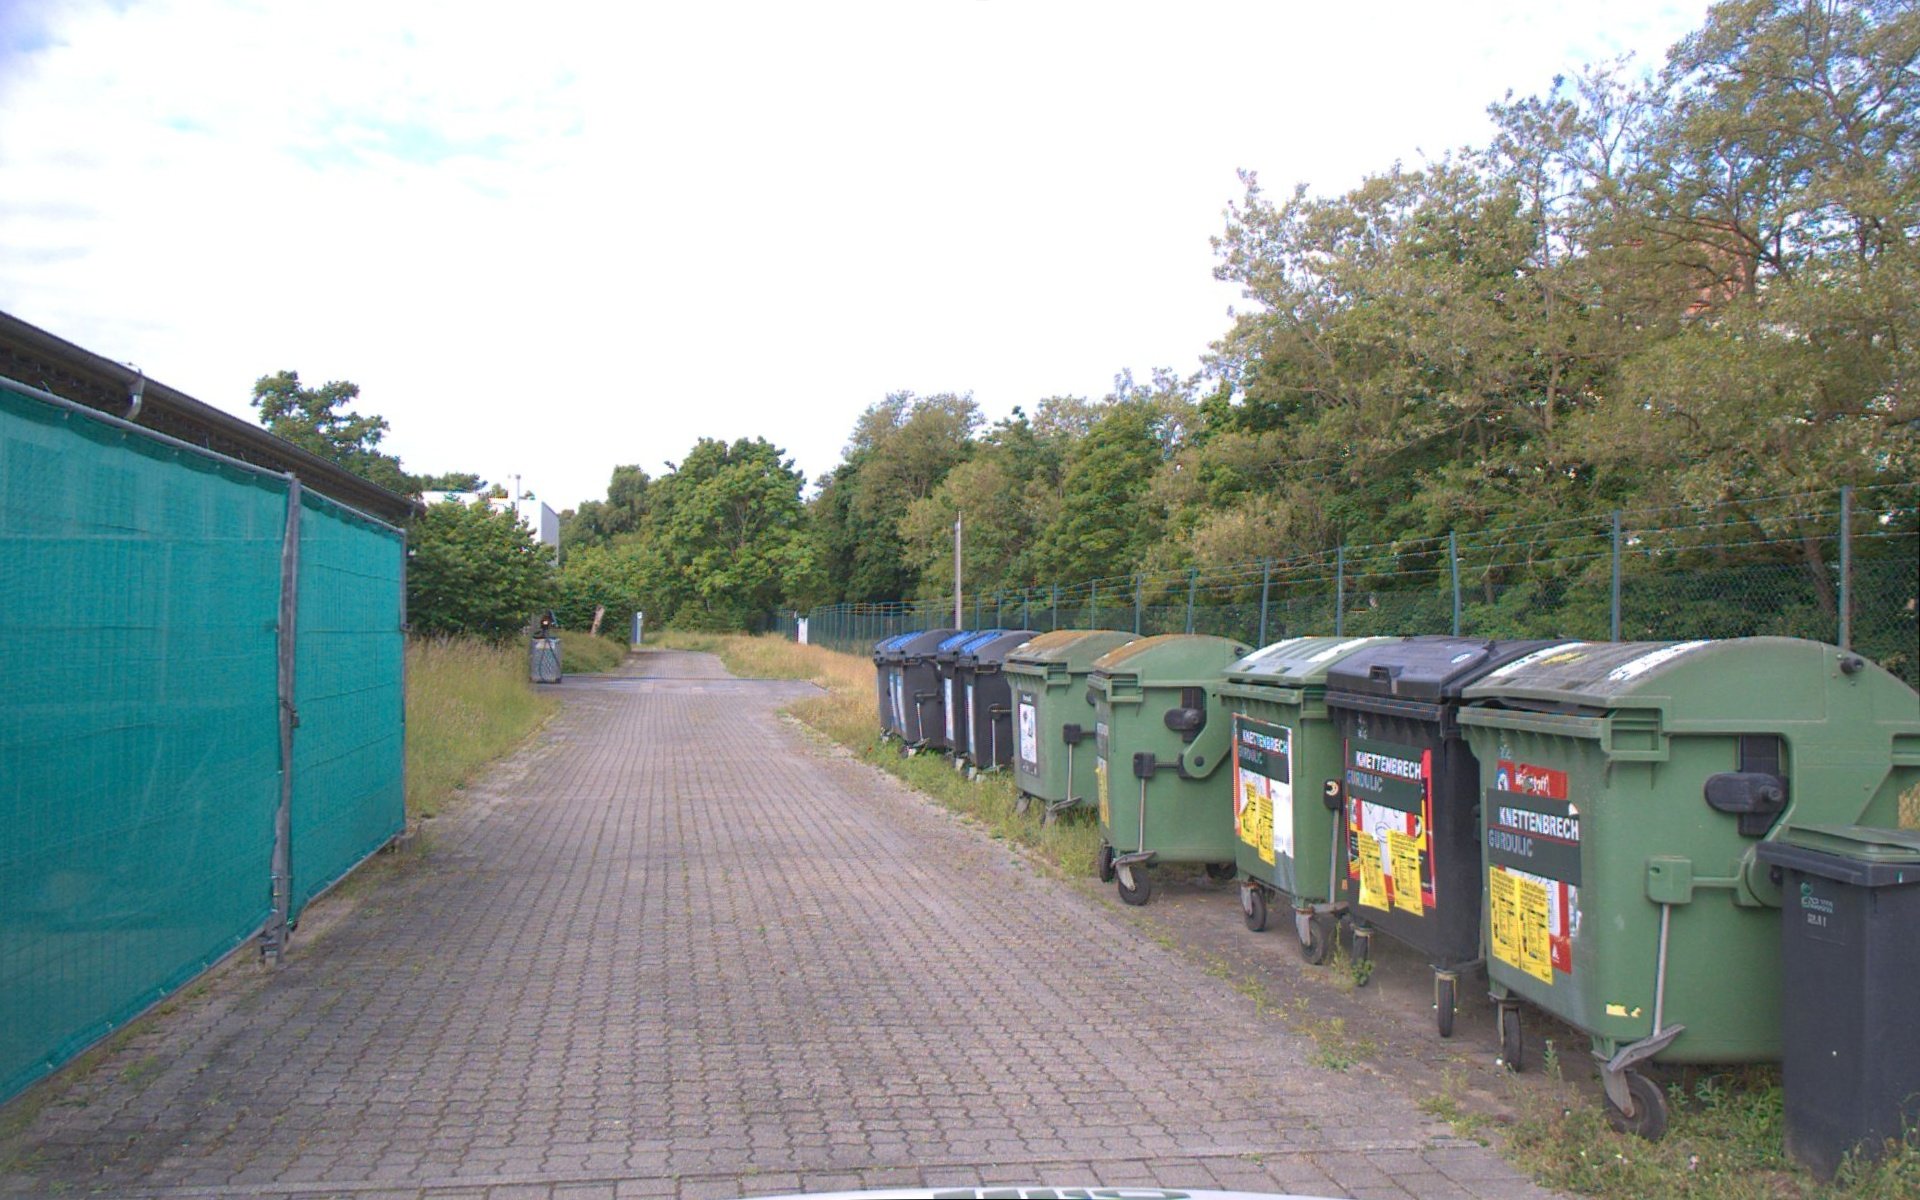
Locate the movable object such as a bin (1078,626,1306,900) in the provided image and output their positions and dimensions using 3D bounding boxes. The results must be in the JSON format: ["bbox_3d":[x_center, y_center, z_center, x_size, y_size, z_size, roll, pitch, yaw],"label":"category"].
[{"bbox_3d":[1.282,0.882,9.454,1.100,1.423,1.385,1,-2,0],"label":"movable object such as a bin"}]

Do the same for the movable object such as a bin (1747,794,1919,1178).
[{"bbox_3d":[2.507,0.982,4.352,0.587,0.881,0.585,1,-2,-2],"label":"movable object such as a bin"}]

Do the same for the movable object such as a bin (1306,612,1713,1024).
[{"bbox_3d":[2.137,0.804,6.651,1.049,1.460,1.396,1,-2,-7],"label":"movable object such as a bin"}]

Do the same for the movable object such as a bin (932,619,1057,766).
[{"bbox_3d":[0.325,0.916,16.765,1.101,1.398,1.492,1,-2,-5],"label":"movable object such as a bin"}]

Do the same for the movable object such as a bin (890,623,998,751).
[{"bbox_3d":[-0.196,0.935,18.194,1.101,1.345,1.324,1,-1,-4],"label":"movable object such as a bin"}]

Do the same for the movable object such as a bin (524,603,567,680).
[{"bbox_3d":[-11.113,1.110,44.373,0.916,2.017,0.853,1,-1,-2],"label":"movable object such as a bin"}]

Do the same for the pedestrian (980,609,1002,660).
[{"bbox_3d":[1.268,1.407,67.208,0.746,2.049,0.662,1,-1,-11],"label":"pedestrian"}]

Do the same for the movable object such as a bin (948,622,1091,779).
[{"bbox_3d":[0.518,0.898,15.197,1.131,1.348,1.492,1,-2,-5],"label":"movable object such as a bin"}]

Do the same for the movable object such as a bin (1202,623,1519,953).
[{"bbox_3d":[1.870,0.848,7.953,1.049,1.430,1.383,1,-2,-7],"label":"movable object such as a bin"}]

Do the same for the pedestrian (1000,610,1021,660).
[{"bbox_3d":[2.053,1.429,67.378,0.746,2.049,0.662,1,-1,-11],"label":"pedestrian"}]

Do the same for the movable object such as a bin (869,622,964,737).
[{"bbox_3d":[-0.567,0.994,20.884,1.101,1.374,1.424,1,-2,-5],"label":"movable object such as a bin"}]

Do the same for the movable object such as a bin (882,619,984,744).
[{"bbox_3d":[-0.339,0.950,19.488,1.101,1.403,1.324,1,-2,-5],"label":"movable object such as a bin"}]

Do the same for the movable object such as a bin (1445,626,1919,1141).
[{"bbox_3d":[2.325,0.814,5.309,1.105,1.420,1.356,1,-2,-2],"label":"movable object such as a bin"}]

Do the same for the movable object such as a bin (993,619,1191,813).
[{"bbox_3d":[0.928,0.819,12.022,1.102,1.319,1.376,2,-2,-11],"label":"movable object such as a bin"}]
